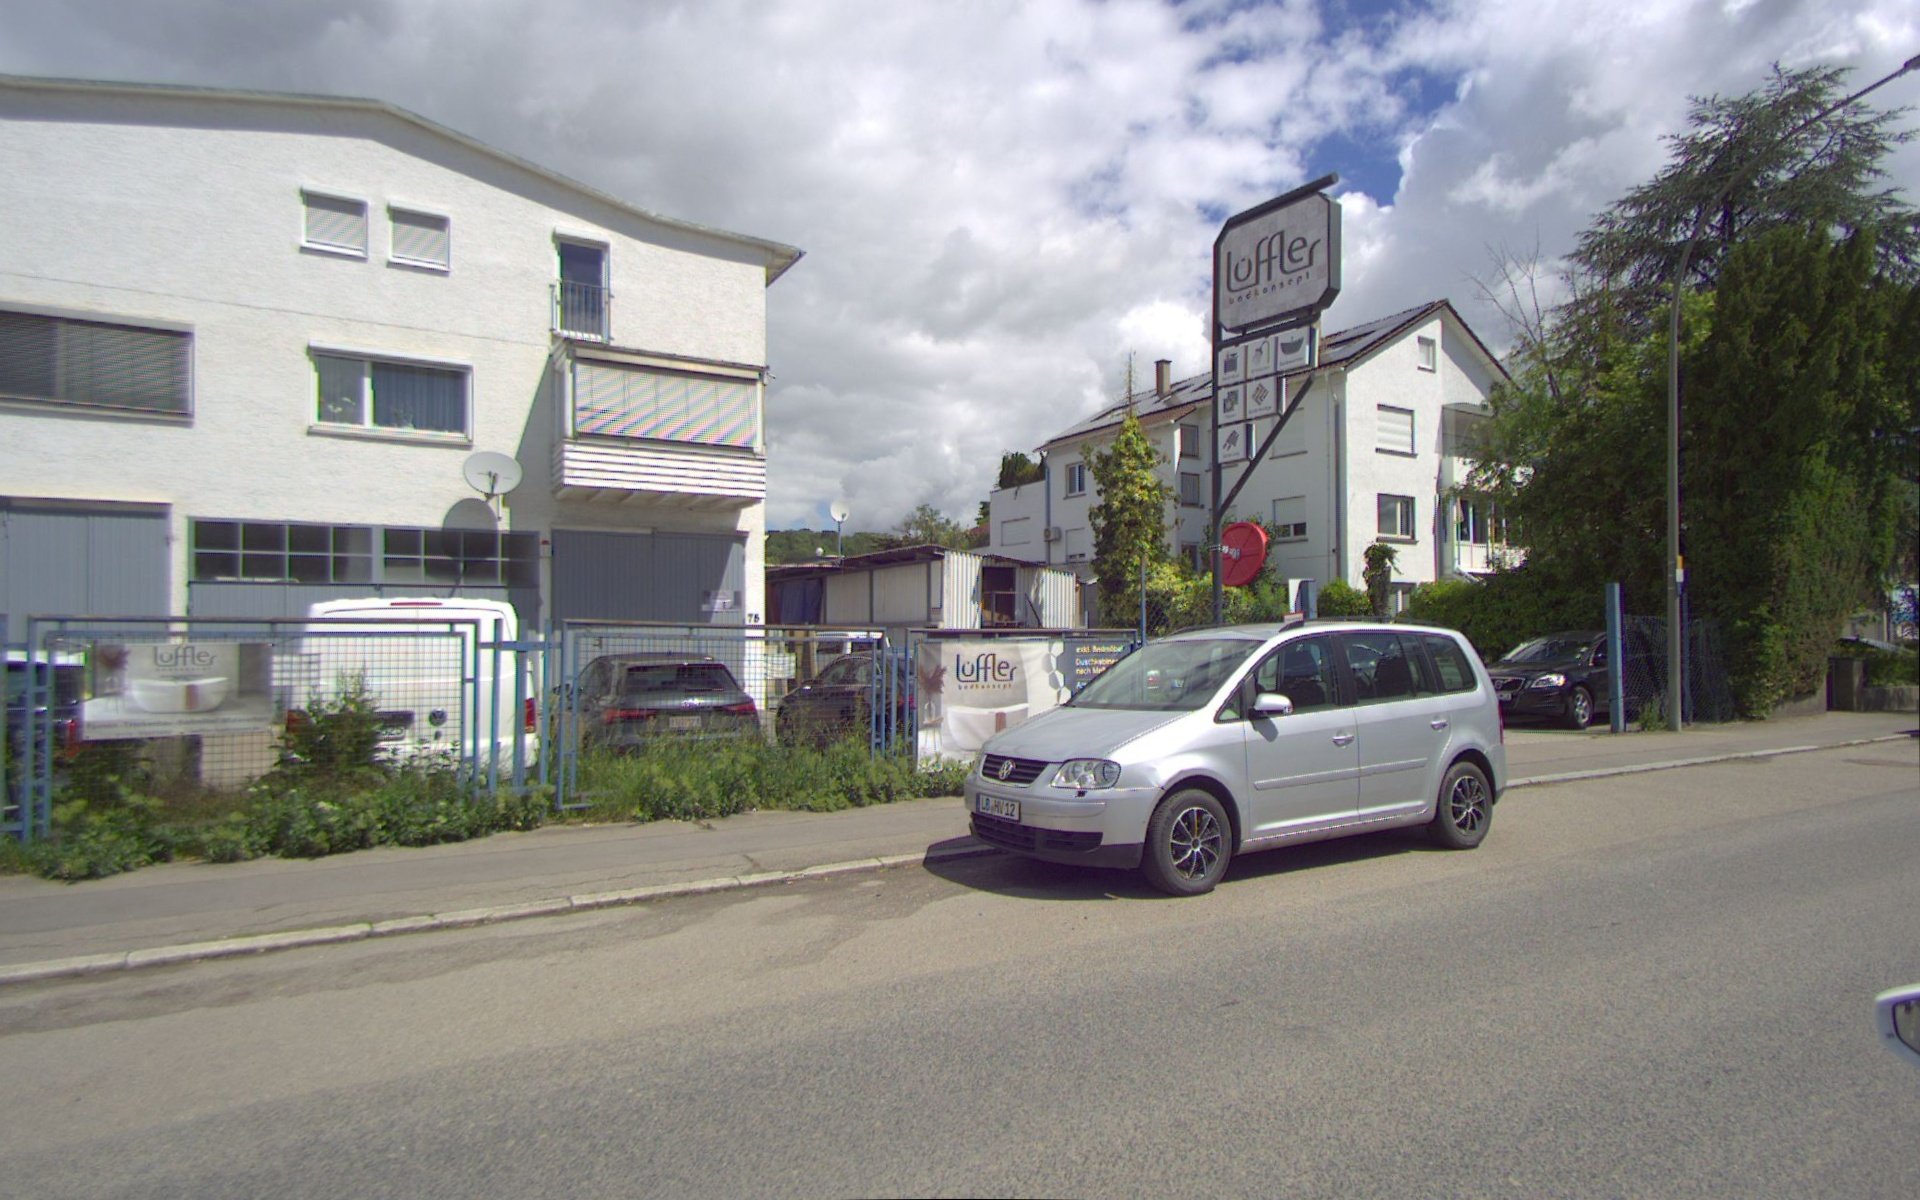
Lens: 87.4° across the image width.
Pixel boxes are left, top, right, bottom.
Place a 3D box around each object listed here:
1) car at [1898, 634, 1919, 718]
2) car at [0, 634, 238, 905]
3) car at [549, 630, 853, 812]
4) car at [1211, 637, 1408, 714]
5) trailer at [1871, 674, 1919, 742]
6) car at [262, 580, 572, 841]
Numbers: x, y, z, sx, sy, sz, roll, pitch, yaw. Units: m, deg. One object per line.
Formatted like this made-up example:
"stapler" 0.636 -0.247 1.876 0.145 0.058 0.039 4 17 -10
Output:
"car" 25.792 1.935 25.397 3.954 2.040 1.983 1 1 -31
"car" -7.161 1.113 7.856 1.969 1.586 4.259 5 -4 -31
"car" -2.957 1.139 10.706 1.969 1.504 4.259 5 -4 -31
"car" 7.969 1.645 22.839 4.329 1.564 1.983 1 -2 -33
"trailer" 17.013 1.676 15.994 5.881 0.937 2.216 1 -1 -32
"car" -5.149 0.922 9.524 1.969 1.859 4.259 5 -4 -31
